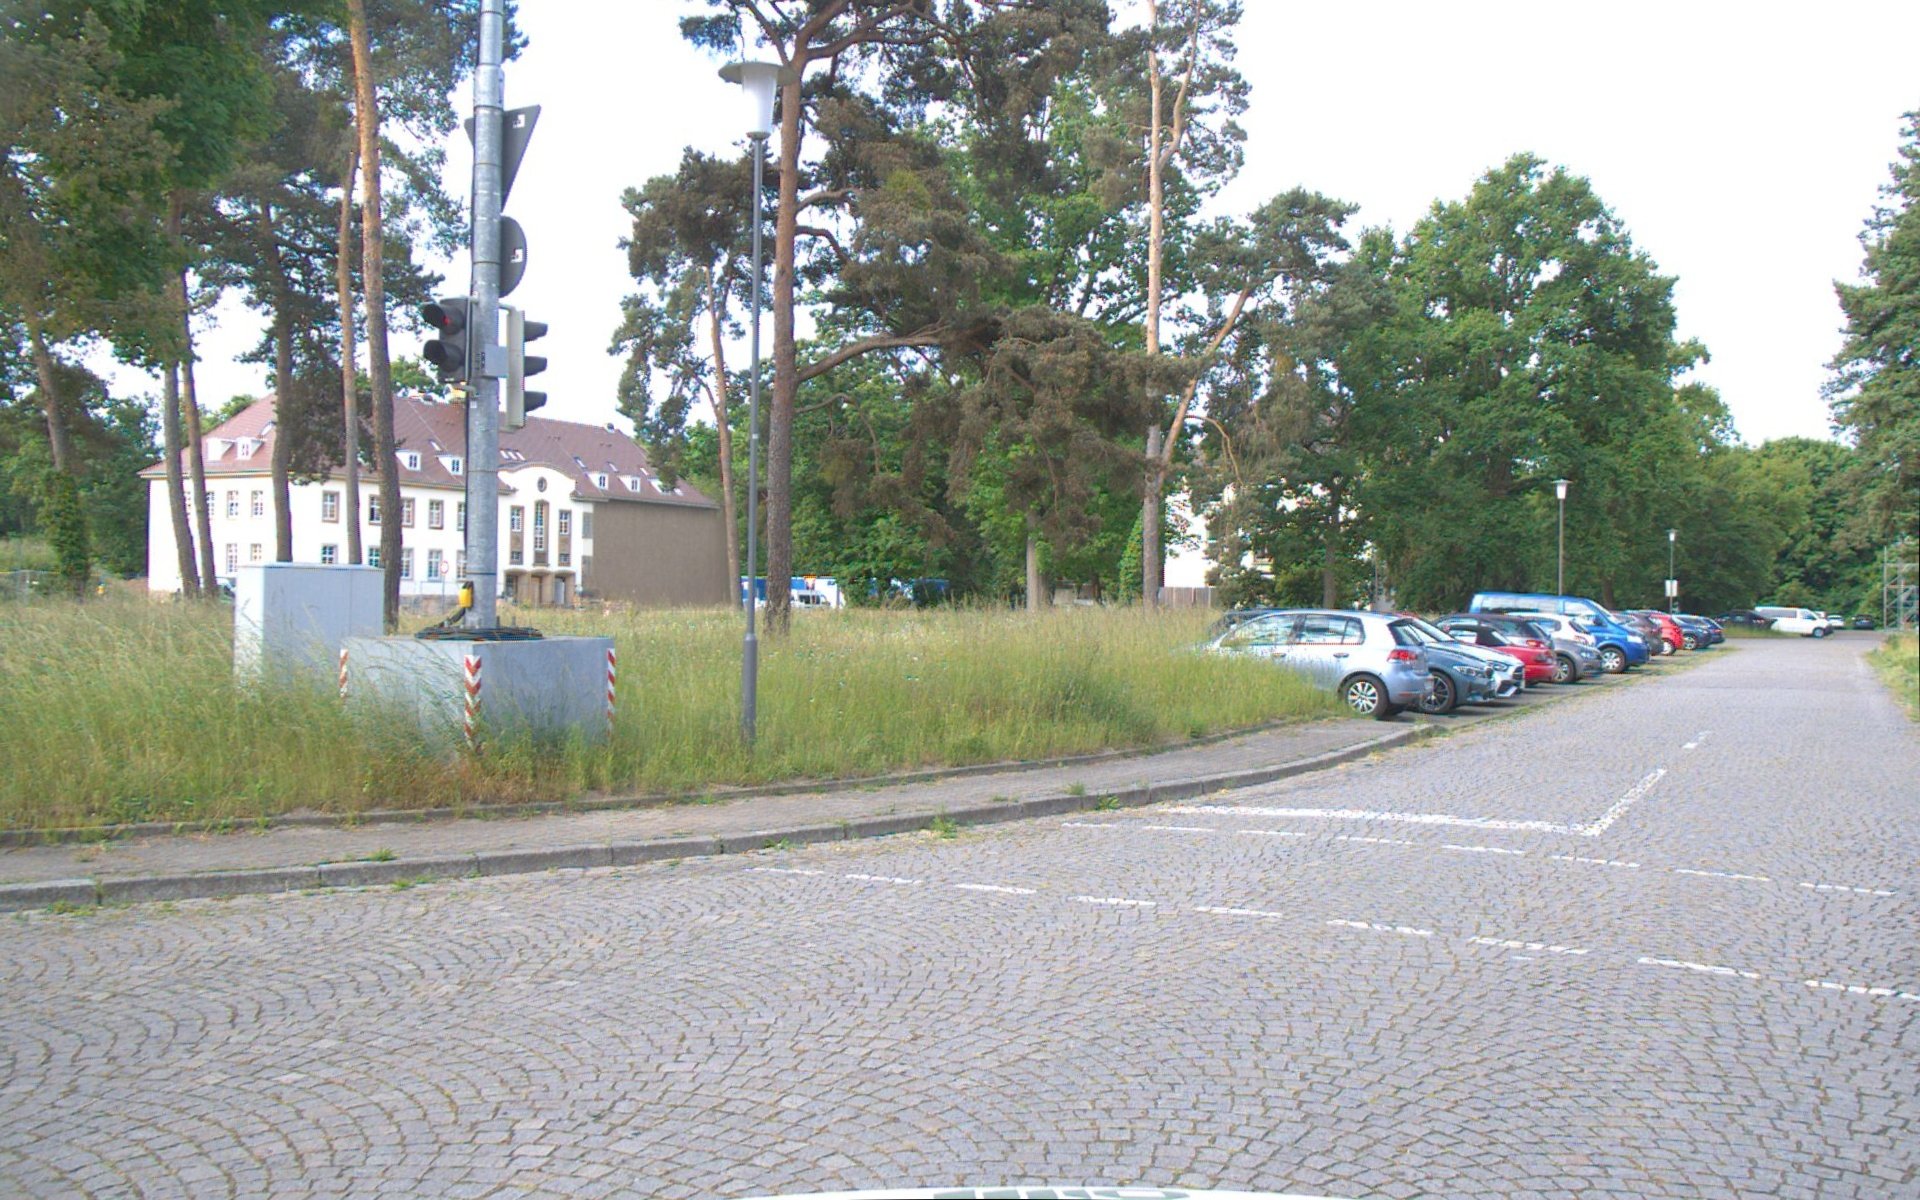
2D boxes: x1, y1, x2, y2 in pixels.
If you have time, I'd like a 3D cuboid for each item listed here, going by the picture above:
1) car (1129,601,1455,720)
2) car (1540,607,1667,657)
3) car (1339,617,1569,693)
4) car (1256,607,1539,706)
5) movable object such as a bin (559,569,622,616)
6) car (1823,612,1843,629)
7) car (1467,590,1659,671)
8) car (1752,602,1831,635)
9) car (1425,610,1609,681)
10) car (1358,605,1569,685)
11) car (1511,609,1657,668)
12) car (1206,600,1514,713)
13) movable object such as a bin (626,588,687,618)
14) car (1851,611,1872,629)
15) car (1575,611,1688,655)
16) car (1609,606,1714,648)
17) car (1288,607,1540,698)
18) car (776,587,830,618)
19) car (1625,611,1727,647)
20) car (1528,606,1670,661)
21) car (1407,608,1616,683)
[{"bbox_3d":[4.776,0.819,23.928,4.249,1.496,1.823,1,0,30],"label":"car"},{"bbox_3d":[21.420,1.033,55.102,3.743,1.512,1.759,1,0,29],"label":"car"},{"bbox_3d":[9.725,1.046,32.603,4.053,1.305,1.761,1,0,29],"label":"car"},{"bbox_3d":[7.521,0.925,28.470,4.354,1.481,1.946,1,0,30],"label":"car"},{"bbox_3d":[-30.164,-0.595,134.767,2.125,3.705,6.036,3,-2,-44],"label":"movable object such as a bin"},{"bbox_3d":[91.461,2.145,173.212,1.755,1.665,4.056,1,-2,27],"label":"car"},{"bbox_3d":[16.268,0.776,44.652,4.620,2.015,2.035,1,0,28],"label":"car"},{"bbox_3d":[58.368,1.279,116.177,4.883,2.109,2.049,2,-1,28],"label":"car"},{"bbox_3d":[13.504,1.064,40.132,3.931,1.528,1.839,1,0,30],"label":"car"},{"bbox_3d":[10.680,0.912,35.136,4.012,1.506,1.752,1,0,30],"label":"car"},{"bbox_3d":[17.674,1.061,46.836,3.720,1.519,1.724,1,0,26],"label":"car"},{"bbox_3d":[6.299,0.845,26.082,4.413,1.564,1.869,1,0,26],"label":"car"},{"bbox_3d":[-24.463,0.219,133.278,4.428,2.293,2.372,0,-2,34],"label":"movable object such as a bin"},{"bbox_3d":[93.862,2.139,172.245,1.755,1.750,4.056,1,-2,27],"label":"car"},{"bbox_3d":[25.041,1.212,61.686,3.743,1.515,1.785,1,0,28],"label":"car"},{"bbox_3d":[29.970,1.136,70.656,3.993,1.632,1.785,1,0,27],"label":"car"},{"bbox_3d":[8.396,0.919,30.621,4.174,1.480,1.852,1,0,29],"label":"car"},{"bbox_3d":[-11.834,0.210,124.703,2.022,2.132,4.339,0,-2,28],"label":"car"},{"bbox_3d":[32.333,1.283,74.706,3.998,1.493,1.621,1,0,32],"label":"car"},{"bbox_3d":[20.297,1.030,52.543,3.990,1.602,1.952,1,0,28],"label":"car"},{"bbox_3d":[12.463,0.980,37.438,4.225,1.506,1.727,1,0,30],"label":"car"}]
